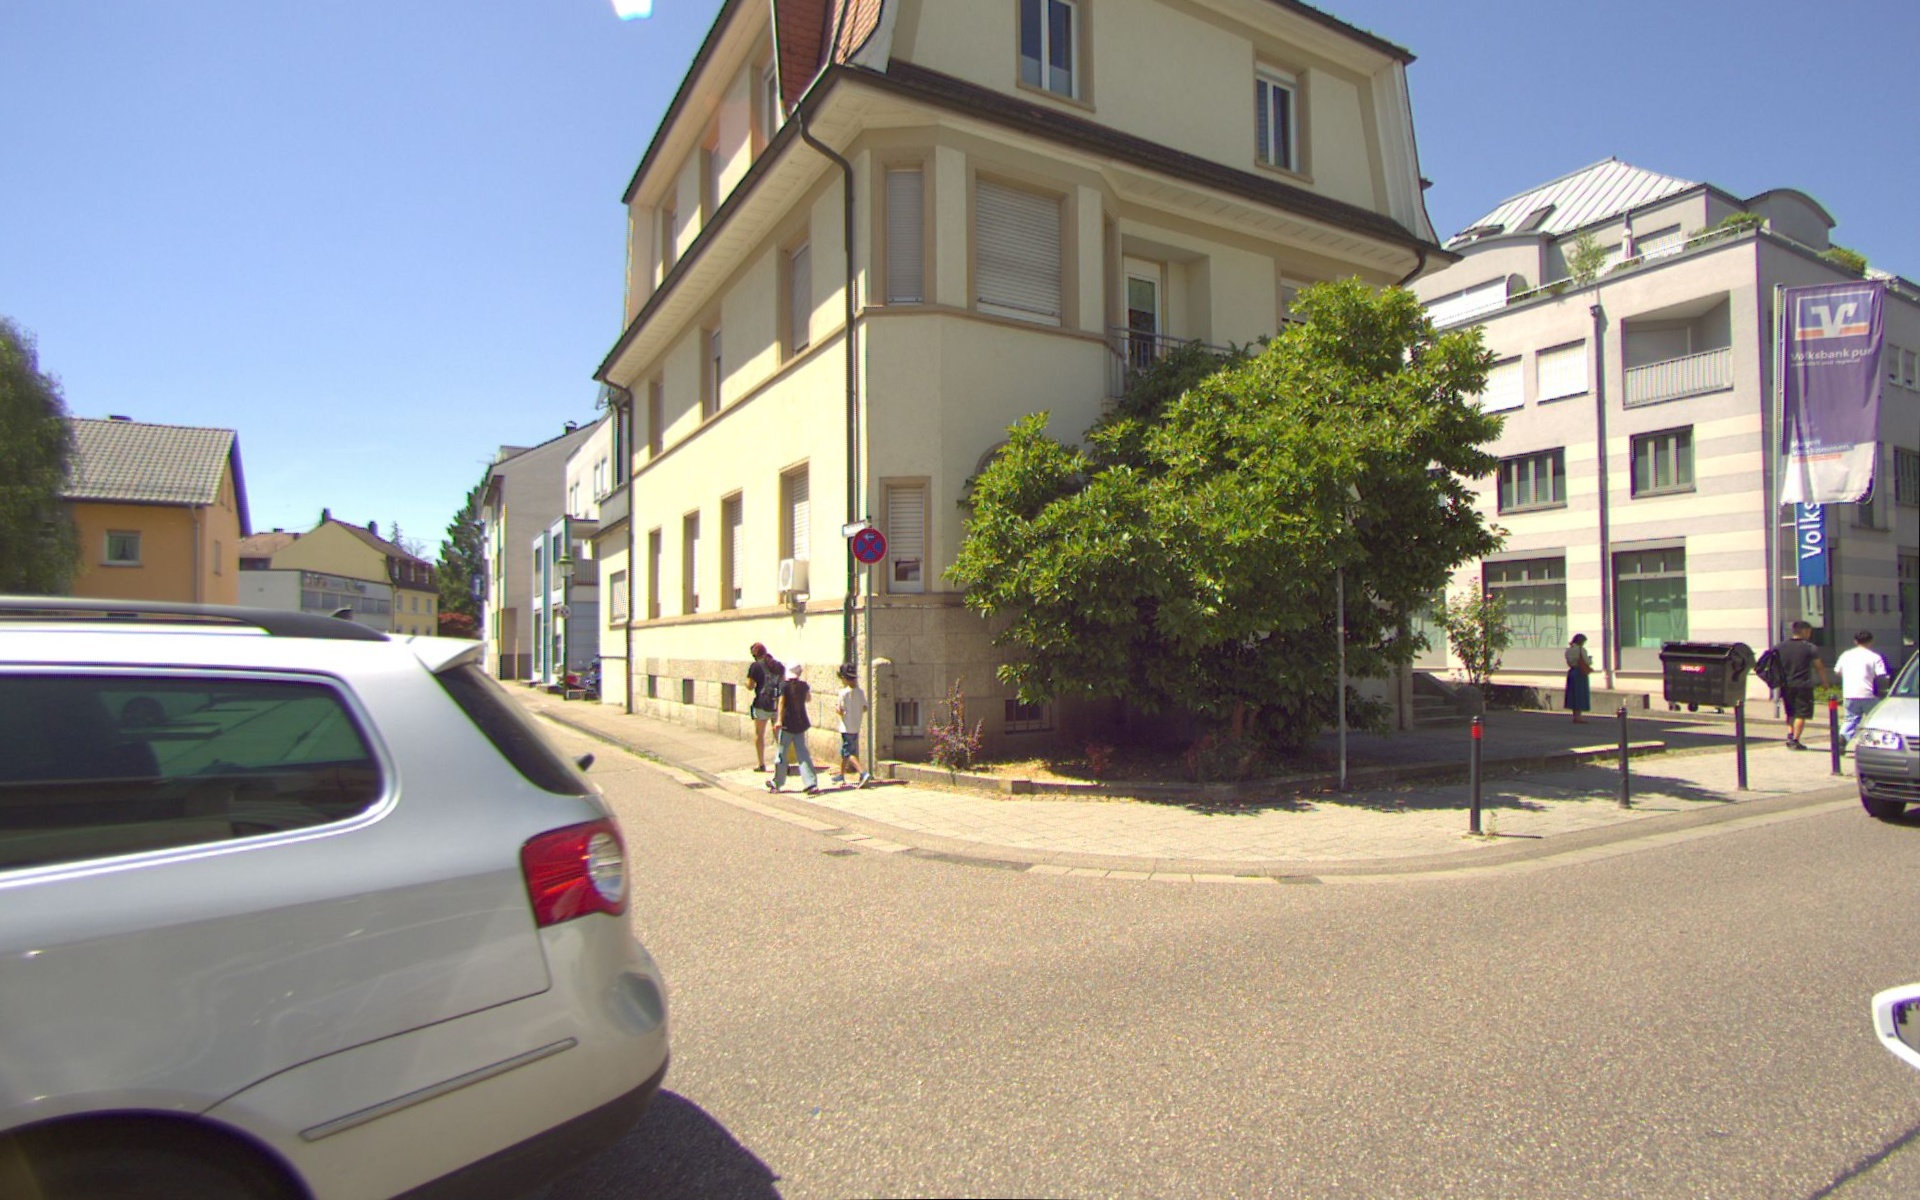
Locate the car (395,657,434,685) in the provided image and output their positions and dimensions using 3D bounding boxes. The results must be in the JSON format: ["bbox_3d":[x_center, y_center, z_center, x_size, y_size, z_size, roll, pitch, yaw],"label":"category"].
[{"bbox_3d":[-40.099,5.217,73.904,1.956,1.839,3.982,-2,-3,-21],"label":"car"}]

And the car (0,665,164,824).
[{"bbox_3d":[-10.834,1.529,10.246,3.953,1.520,1.985,-1,-3,-30],"label":"car"}]

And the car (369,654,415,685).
[{"bbox_3d":[-36.335,4.464,64.353,1.956,1.839,3.982,-2,-3,-21],"label":"car"}]

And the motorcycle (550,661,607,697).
[{"bbox_3d":[-13.437,2.765,35.411,1.797,1.209,0.694,1,-3,-29],"label":"motorcycle"}]

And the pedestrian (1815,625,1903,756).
[{"bbox_3d":[12.252,1.224,13.694,0.950,1.712,0.628,3,-2,-30],"label":"pedestrian"}]

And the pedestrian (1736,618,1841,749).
[{"bbox_3d":[11.841,1.177,14.380,0.870,1.772,0.818,2,-2,14],"label":"pedestrian"}]

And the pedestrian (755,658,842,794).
[{"bbox_3d":[-1.766,1.355,10.979,0.689,1.389,0.591,-1,-3,-42],"label":"pedestrian"}]

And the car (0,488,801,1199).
[{"bbox_3d":[-2.877,0.679,1.758,4.740,1.528,1.941,-1,-3,-31],"label":"car"}]

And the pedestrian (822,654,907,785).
[{"bbox_3d":[-1.078,1.319,11.303,0.688,1.389,0.591,-1,-3,-39],"label":"pedestrian"}]

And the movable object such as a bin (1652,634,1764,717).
[{"bbox_3d":[14.848,1.487,19.957,1.283,1.514,1.349,-1,-3,-34],"label":"movable object such as a bin"}]

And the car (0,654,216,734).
[{"bbox_3d":[-19.489,2.087,22.529,4.245,1.520,1.985,-1,-3,-30],"label":"car"}]

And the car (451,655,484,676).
[{"bbox_3d":[-46.825,6.234,95.591,1.951,1.839,3.991,-2,-3,-13],"label":"car"}]

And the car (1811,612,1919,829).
[{"bbox_3d":[9.769,1.003,9.195,4.090,1.790,1.761,1,-4,-32],"label":"car"}]

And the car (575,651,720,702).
[{"bbox_3d":[-9.470,2.286,30.549,3.921,1.455,1.762,2,-3,-32],"label":"car"}]

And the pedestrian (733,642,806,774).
[{"bbox_3d":[-2.363,1.320,12.435,0.686,1.550,0.593,-1,-3,-29],"label":"pedestrian"}]

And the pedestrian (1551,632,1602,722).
[{"bbox_3d":[11.706,1.456,19.074,0.671,1.644,0.711,0,-3,44],"label":"pedestrian"}]

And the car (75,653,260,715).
[{"bbox_3d":[-23.032,2.422,29.403,3.953,1.520,1.985,-1,-3,-30],"label":"car"}]
